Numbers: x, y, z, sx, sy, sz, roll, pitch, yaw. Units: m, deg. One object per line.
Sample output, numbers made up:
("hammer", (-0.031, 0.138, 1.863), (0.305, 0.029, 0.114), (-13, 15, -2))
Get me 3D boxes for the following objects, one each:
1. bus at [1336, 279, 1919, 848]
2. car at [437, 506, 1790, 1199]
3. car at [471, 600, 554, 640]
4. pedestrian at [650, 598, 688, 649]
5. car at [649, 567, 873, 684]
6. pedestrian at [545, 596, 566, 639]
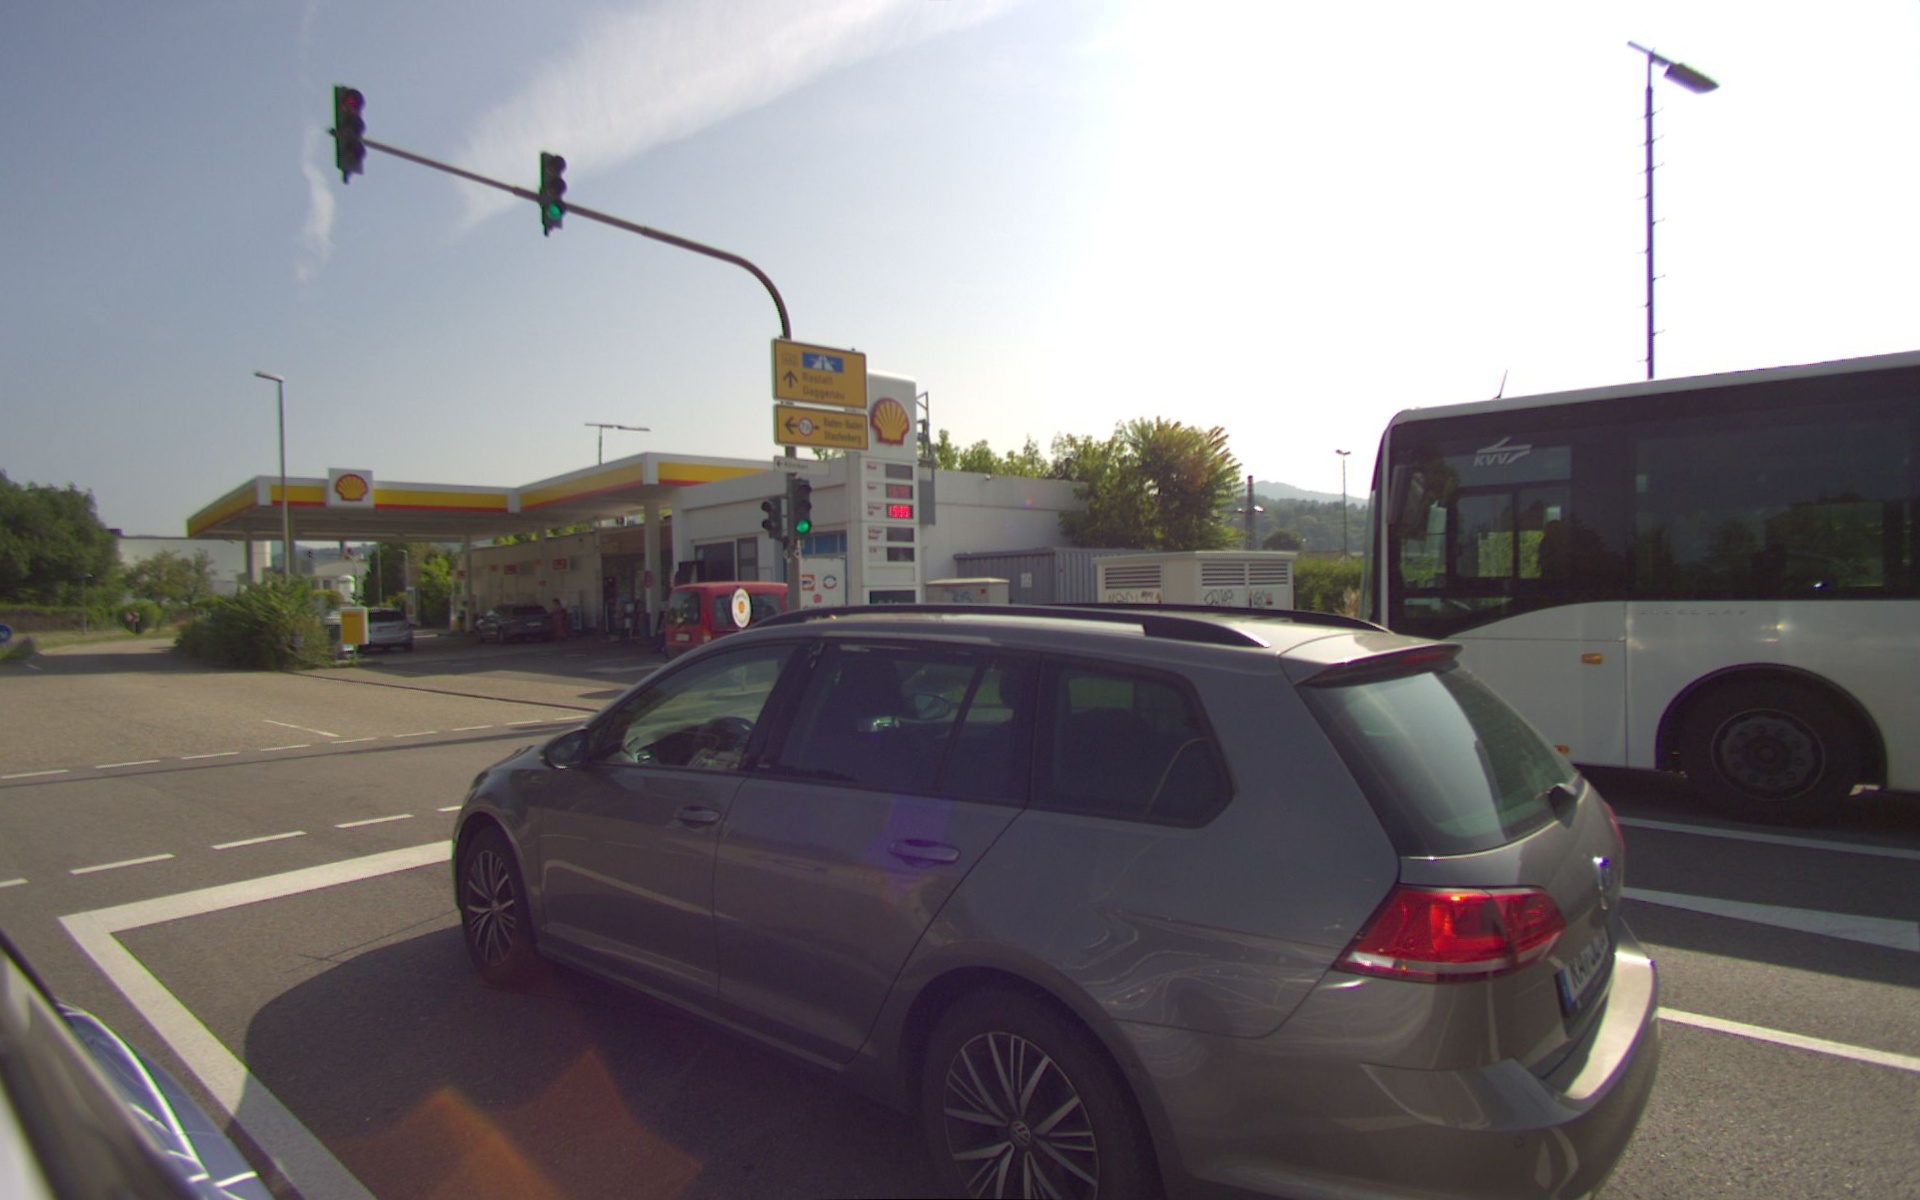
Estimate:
("bus", (8.408, -0.241, 5.254), (11.949, 3.335, 2.594), (-1, -1, 41))
("car", (0.011, 0.642, 3.389), (4.218, 1.484, 1.753), (-1, -1, 42))
("car", (-16.789, 0.722, 37.837), (1.608, 1.422, 4.232), (0, -1, -42))
("pedestrian", (-7.651, 0.616, 26.569), (0.607, 1.305, 0.816), (-2, 1, -44))
("car", (-3.668, 0.404, 19.061), (3.733, 1.809, 1.703), (-5, 3, -44))
("pedestrian", (-15.030, 0.642, 37.607), (0.551, 1.559, 0.535), (0, -1, -43))
